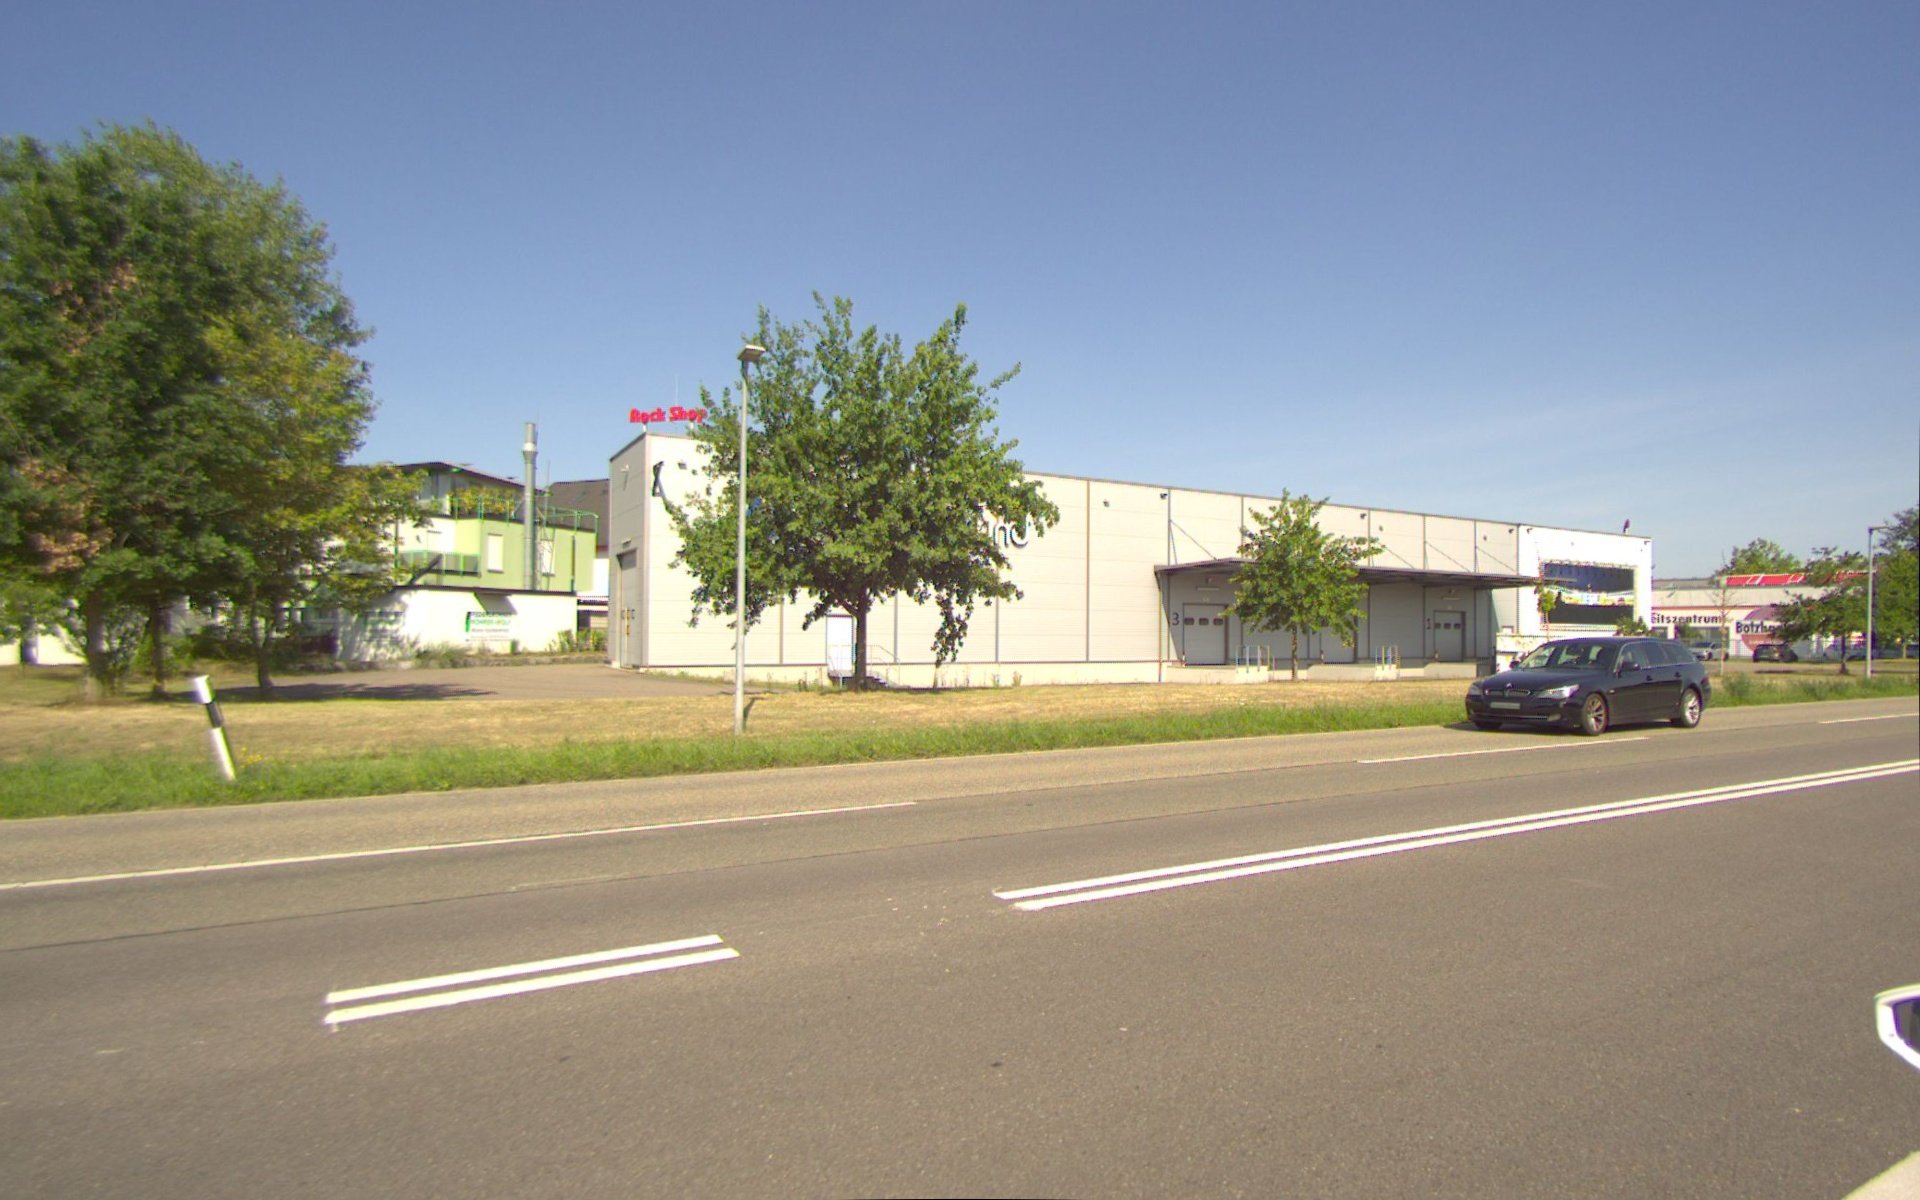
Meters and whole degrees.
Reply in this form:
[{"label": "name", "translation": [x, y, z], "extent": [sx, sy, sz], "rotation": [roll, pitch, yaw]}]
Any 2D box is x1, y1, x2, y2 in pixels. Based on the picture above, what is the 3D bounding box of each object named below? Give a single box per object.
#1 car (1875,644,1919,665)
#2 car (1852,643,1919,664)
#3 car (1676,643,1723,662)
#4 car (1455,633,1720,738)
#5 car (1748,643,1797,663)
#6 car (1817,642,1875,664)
[{"label": "car", "translation": [73.217, 4.190, 77.152], "extent": [1.737, 1.520, 3.969], "rotation": [2, -2, -29]}, {"label": "car", "translation": [69.685, 3.987, 75.190], "extent": [1.737, 1.520, 3.969], "rotation": [2, -2, -29]}, {"label": "car", "translation": [56.592, 4.021, 76.846], "extent": [3.679, 1.429, 1.628], "rotation": [2, -2, -31]}, {"label": "car", "translation": [10.202, 1.319, 16.237], "extent": [4.685, 1.499, 1.645], "rotation": [2, -4, -31]}, {"label": "car", "translation": [58.915, 3.855, 72.830], "extent": [3.679, 1.408, 1.628], "rotation": [2, -2, -31]}, {"label": "car", "translation": [66.123, 3.938, 75.056], "extent": [1.705, 1.520, 4.002], "rotation": [0, -2, 17]}]
